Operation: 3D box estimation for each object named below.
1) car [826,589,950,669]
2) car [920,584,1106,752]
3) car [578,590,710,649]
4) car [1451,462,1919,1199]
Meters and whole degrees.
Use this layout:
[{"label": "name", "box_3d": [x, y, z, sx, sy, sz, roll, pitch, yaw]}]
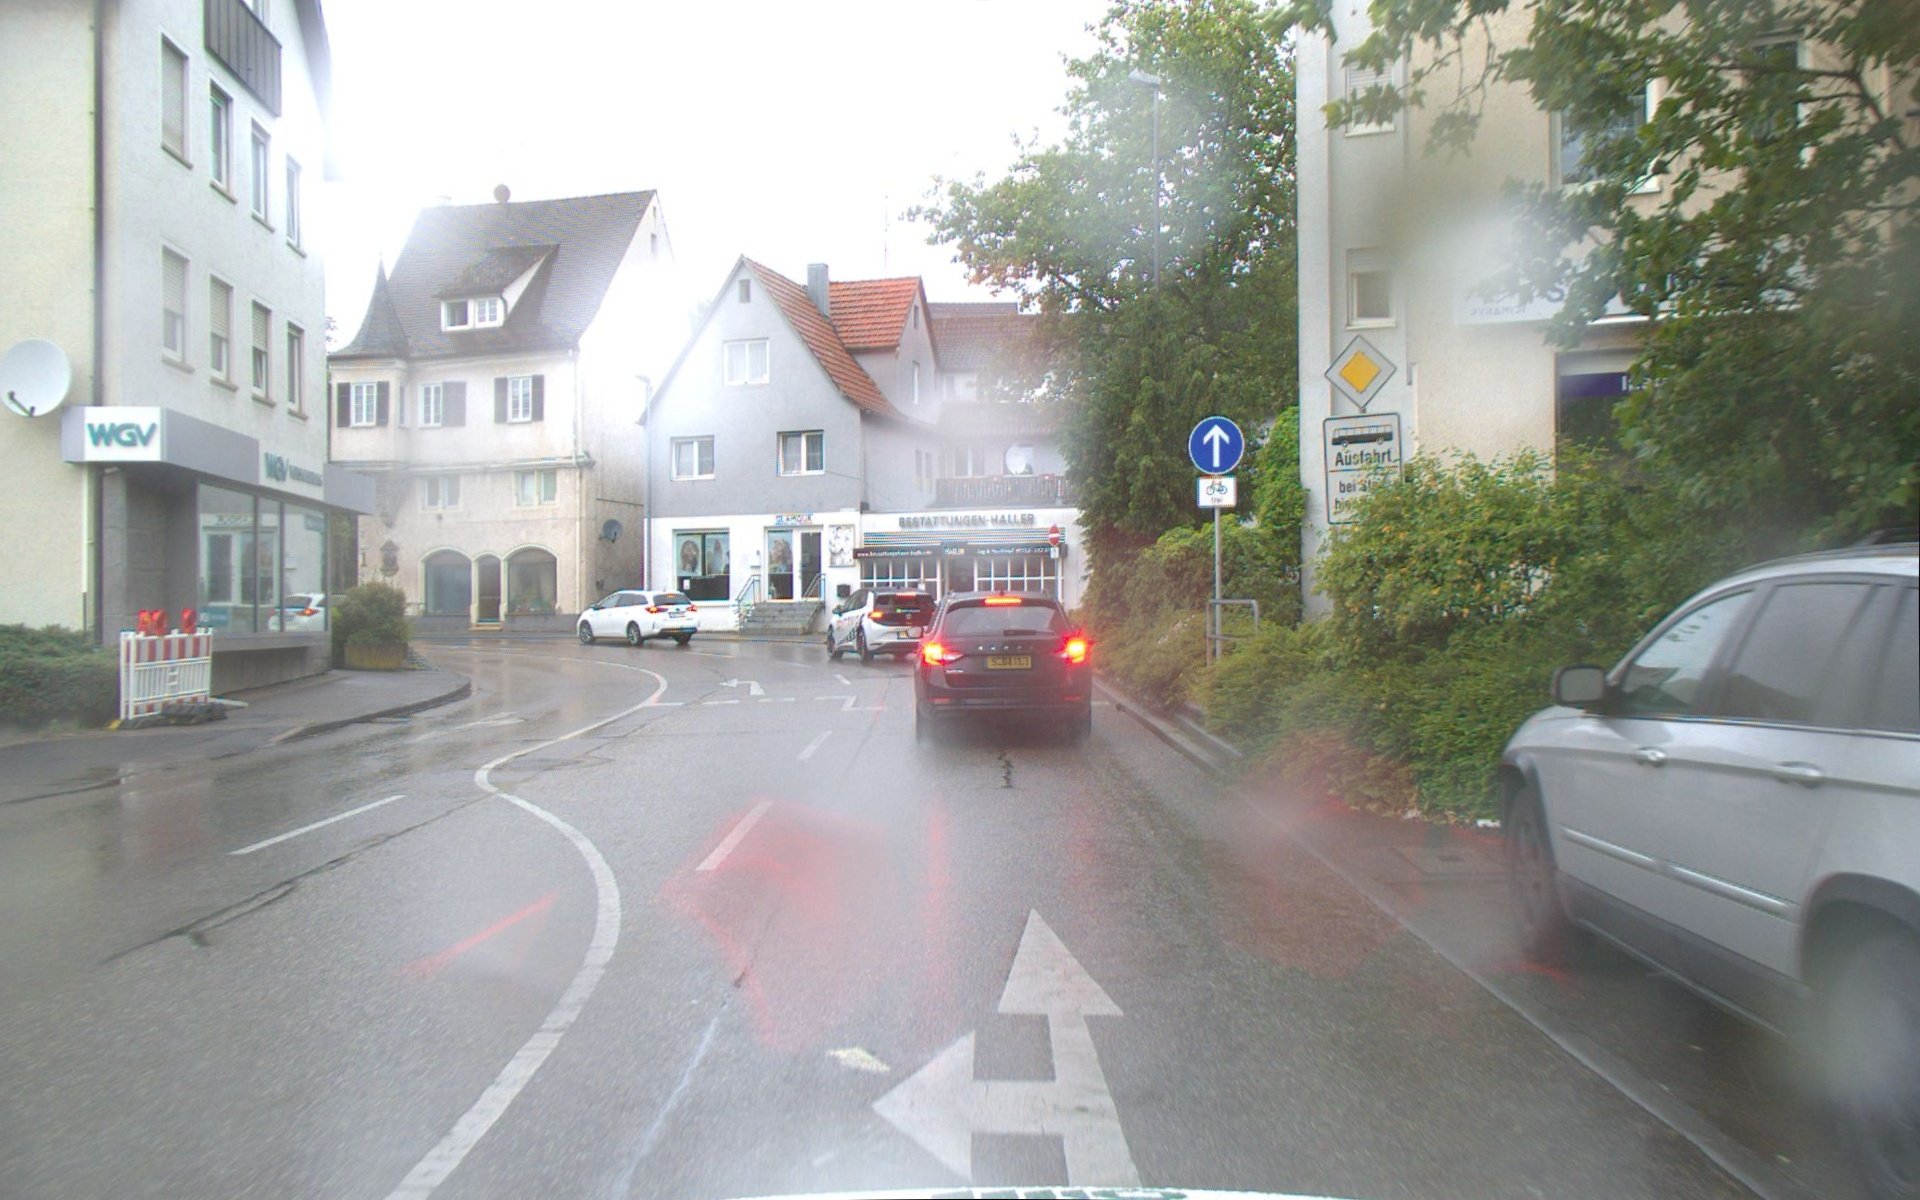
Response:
[{"label": "car", "box_3d": [-1.623, 0.575, 35.712, 1.760, 1.543, 4.223, -2, 1, -15]}, {"label": "car", "box_3d": [0.445, 0.616, 17.581, 1.697, 1.475, 4.240, -1, 1, -2]}, {"label": "car", "box_3d": [-8.844, 0.507, 46.062, 1.776, 1.491, 4.101, -2, 2, -41]}, {"label": "car", "box_3d": [3.173, 0.552, 5.209, 1.891, 1.811, 4.734, -2, 0, 1]}]
